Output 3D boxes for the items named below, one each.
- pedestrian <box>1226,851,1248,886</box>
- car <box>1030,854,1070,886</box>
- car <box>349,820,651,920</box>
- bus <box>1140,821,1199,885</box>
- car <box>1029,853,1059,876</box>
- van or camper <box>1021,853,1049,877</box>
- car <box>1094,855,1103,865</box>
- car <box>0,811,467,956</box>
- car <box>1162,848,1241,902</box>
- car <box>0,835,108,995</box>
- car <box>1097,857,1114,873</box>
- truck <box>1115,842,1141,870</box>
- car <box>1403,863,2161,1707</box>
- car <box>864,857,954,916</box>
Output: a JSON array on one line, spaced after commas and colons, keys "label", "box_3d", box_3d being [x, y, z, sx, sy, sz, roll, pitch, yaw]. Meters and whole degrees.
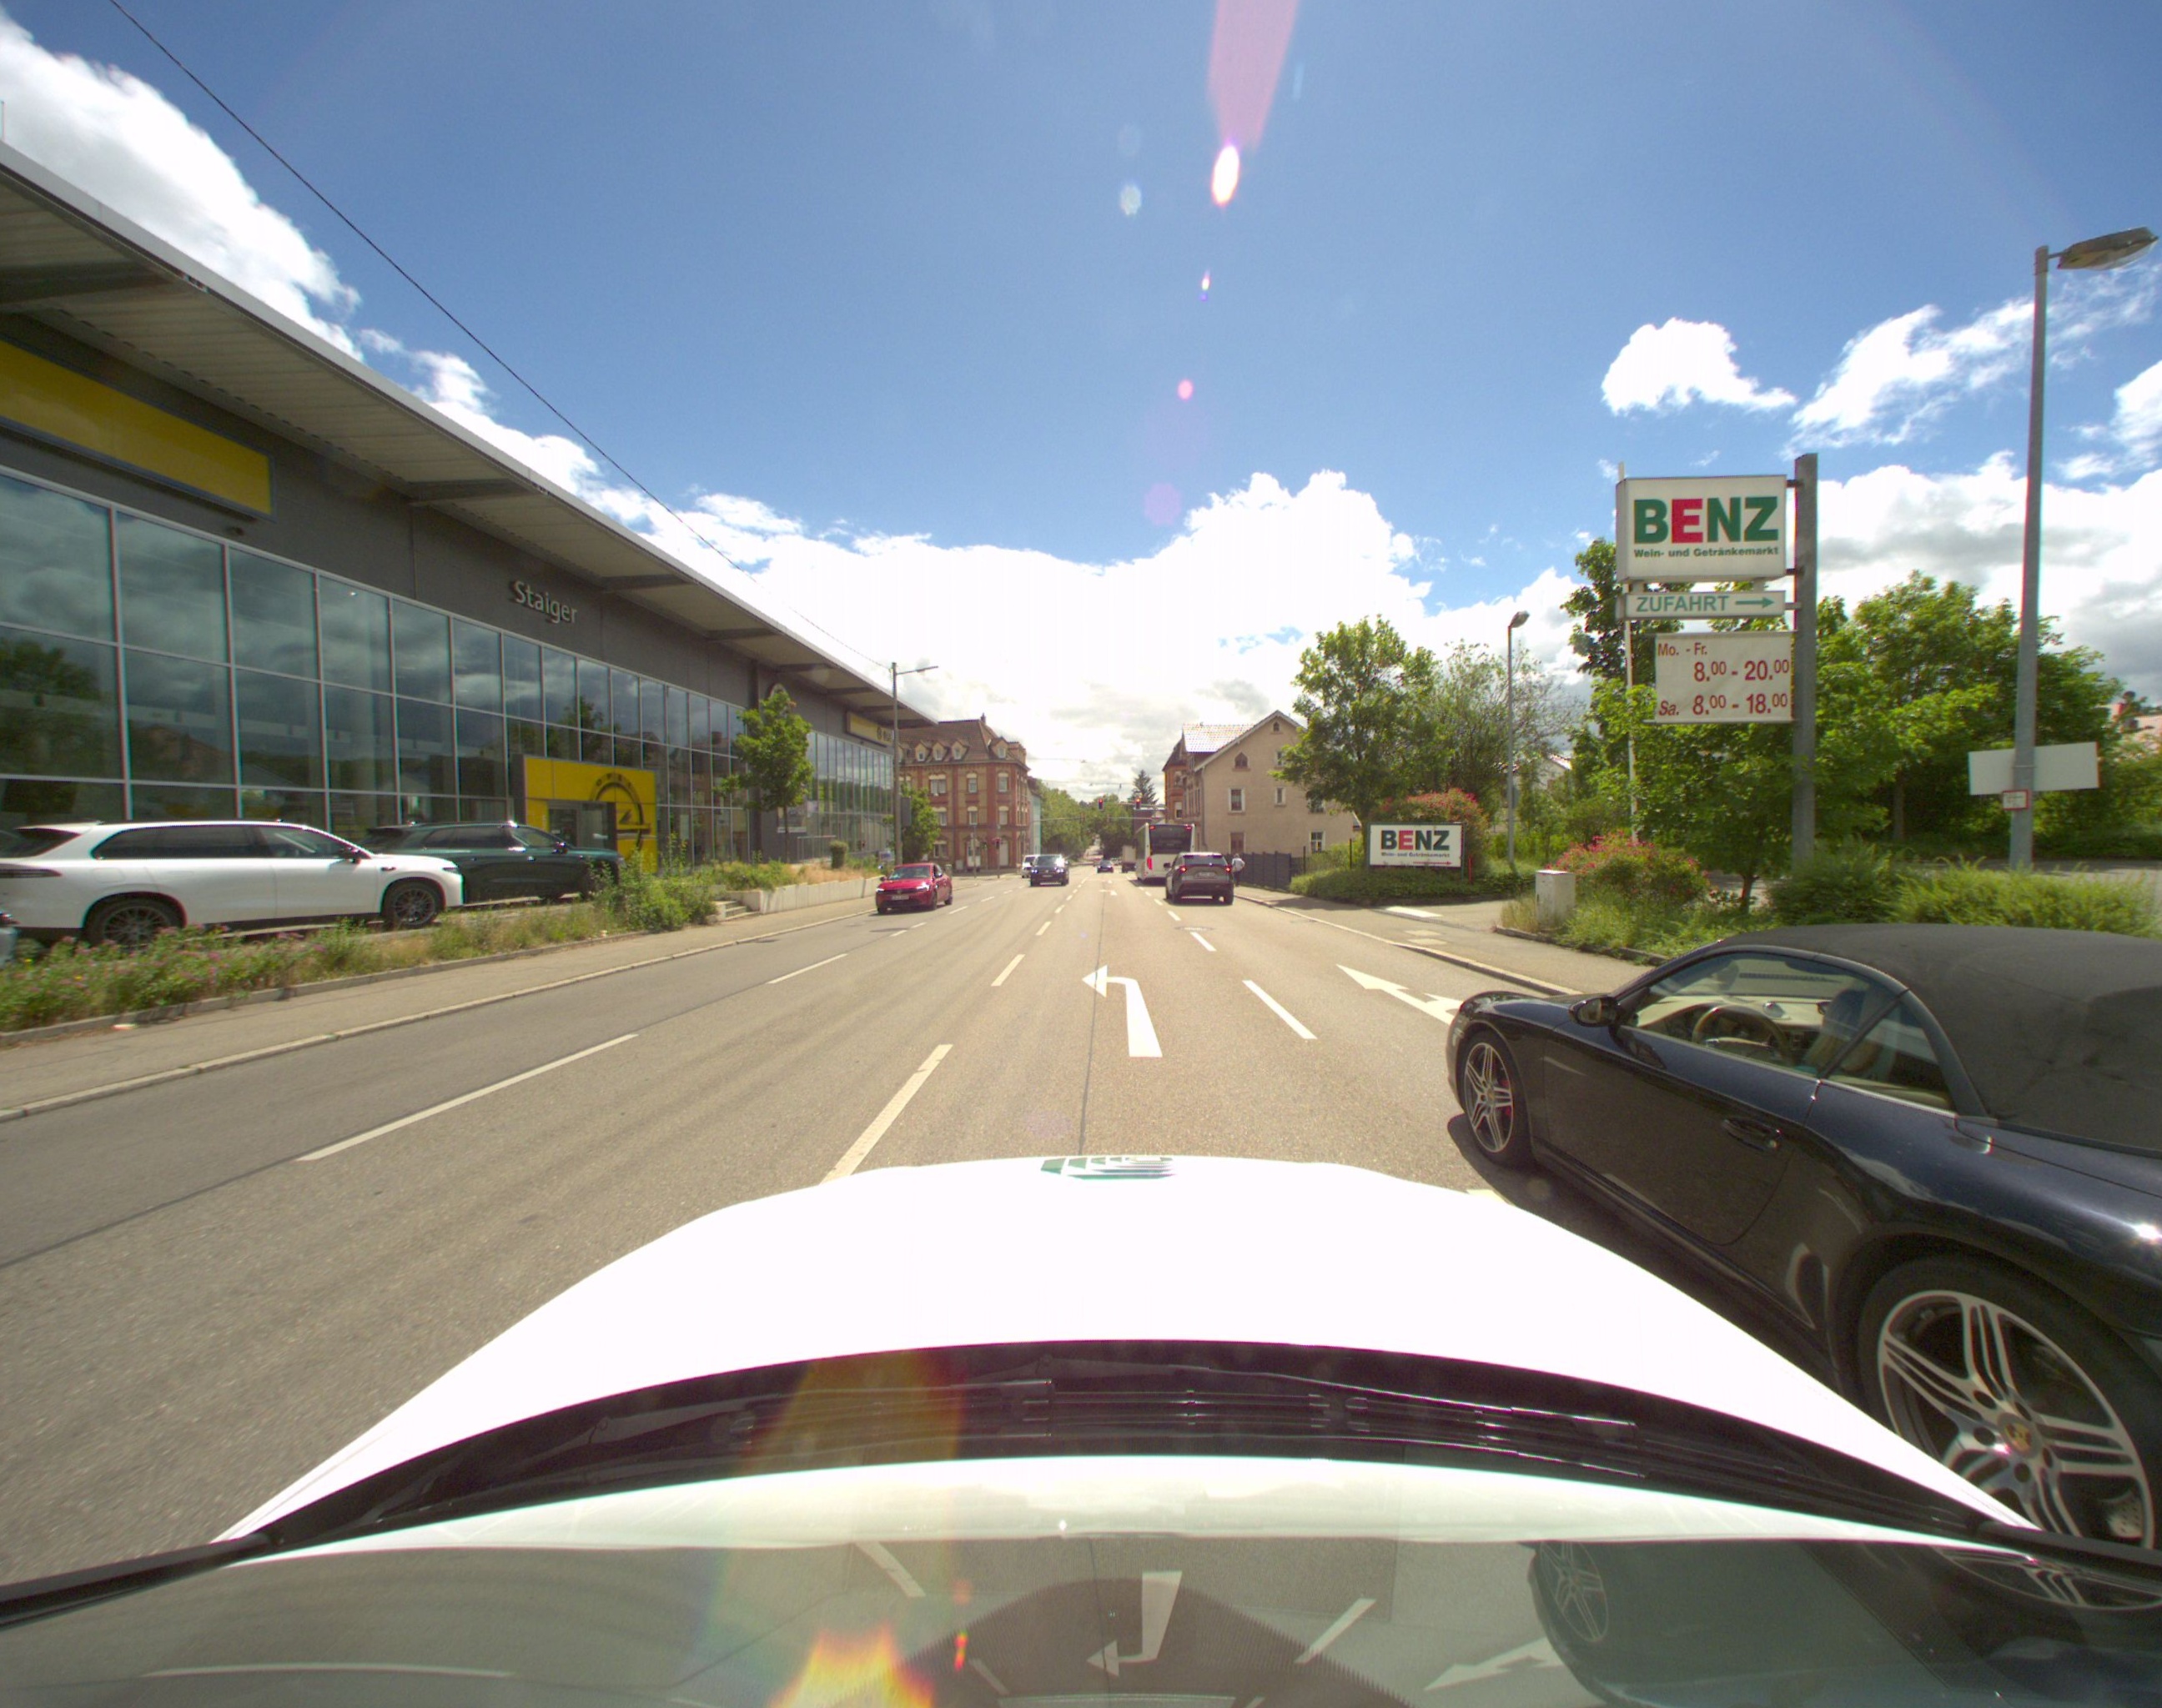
[{"label": "pedestrian", "box_3d": [7.384, 0.678, 38.555, 0.810, 1.581, 1.070, -3, 0, 1]}, {"label": "car", "box_3d": [-1.584, 0.811, 42.862, 1.857, 1.540, 4.108, -1, 0, 1]}, {"label": "car", "box_3d": [-11.461, 0.192, 16.471, 1.975, 1.698, 4.513, 0, 3, 28]}, {"label": "bus", "box_3d": [4.875, -0.284, 47.019, 2.790, 3.197, 12.210, -1, 2, 4]}, {"label": "car", "box_3d": [-2.529, 0.693, 56.273, 1.858, 1.540, 4.106, -1, 0, 0]}, {"label": "van or camper", "box_3d": [-3.832, 0.896, 68.305, 1.963, 1.914, 5.129, -1, 0, 1]}, {"label": "car", "box_3d": [3.744, 1.214, 172.773, 1.826, 1.881, 4.000, -1, 1, 0]}, {"label": "car", "box_3d": [-11.674, 0.311, 11.347, 1.913, 1.572, 4.580, -1, 0, 25]}, {"label": "car", "box_3d": [3.789, 0.616, 26.299, 1.924, 1.583, 4.207, -1, 0, 0]}, {"label": "car", "box_3d": [-11.623, 0.632, 6.354, 1.877, 1.450, 4.863, 0, 3, 30]}, {"label": "car", "box_3d": [2.794, 1.208, 92.809, 1.857, 1.666, 4.260, -1, 0, 1]}, {"label": "truck", "box_3d": [5.586, 0.201, 97.666, 2.658, 3.108, 9.035, -2, 0, 1]}, {"label": "car", "box_3d": [2.879, 0.837, 2.900, 1.923, 1.376, 4.211, -1, 2, 2]}, {"label": "car", "box_3d": [-5.159, 0.921, 24.951, 1.865, 1.491, 3.847, -4, 0, -1]}]
